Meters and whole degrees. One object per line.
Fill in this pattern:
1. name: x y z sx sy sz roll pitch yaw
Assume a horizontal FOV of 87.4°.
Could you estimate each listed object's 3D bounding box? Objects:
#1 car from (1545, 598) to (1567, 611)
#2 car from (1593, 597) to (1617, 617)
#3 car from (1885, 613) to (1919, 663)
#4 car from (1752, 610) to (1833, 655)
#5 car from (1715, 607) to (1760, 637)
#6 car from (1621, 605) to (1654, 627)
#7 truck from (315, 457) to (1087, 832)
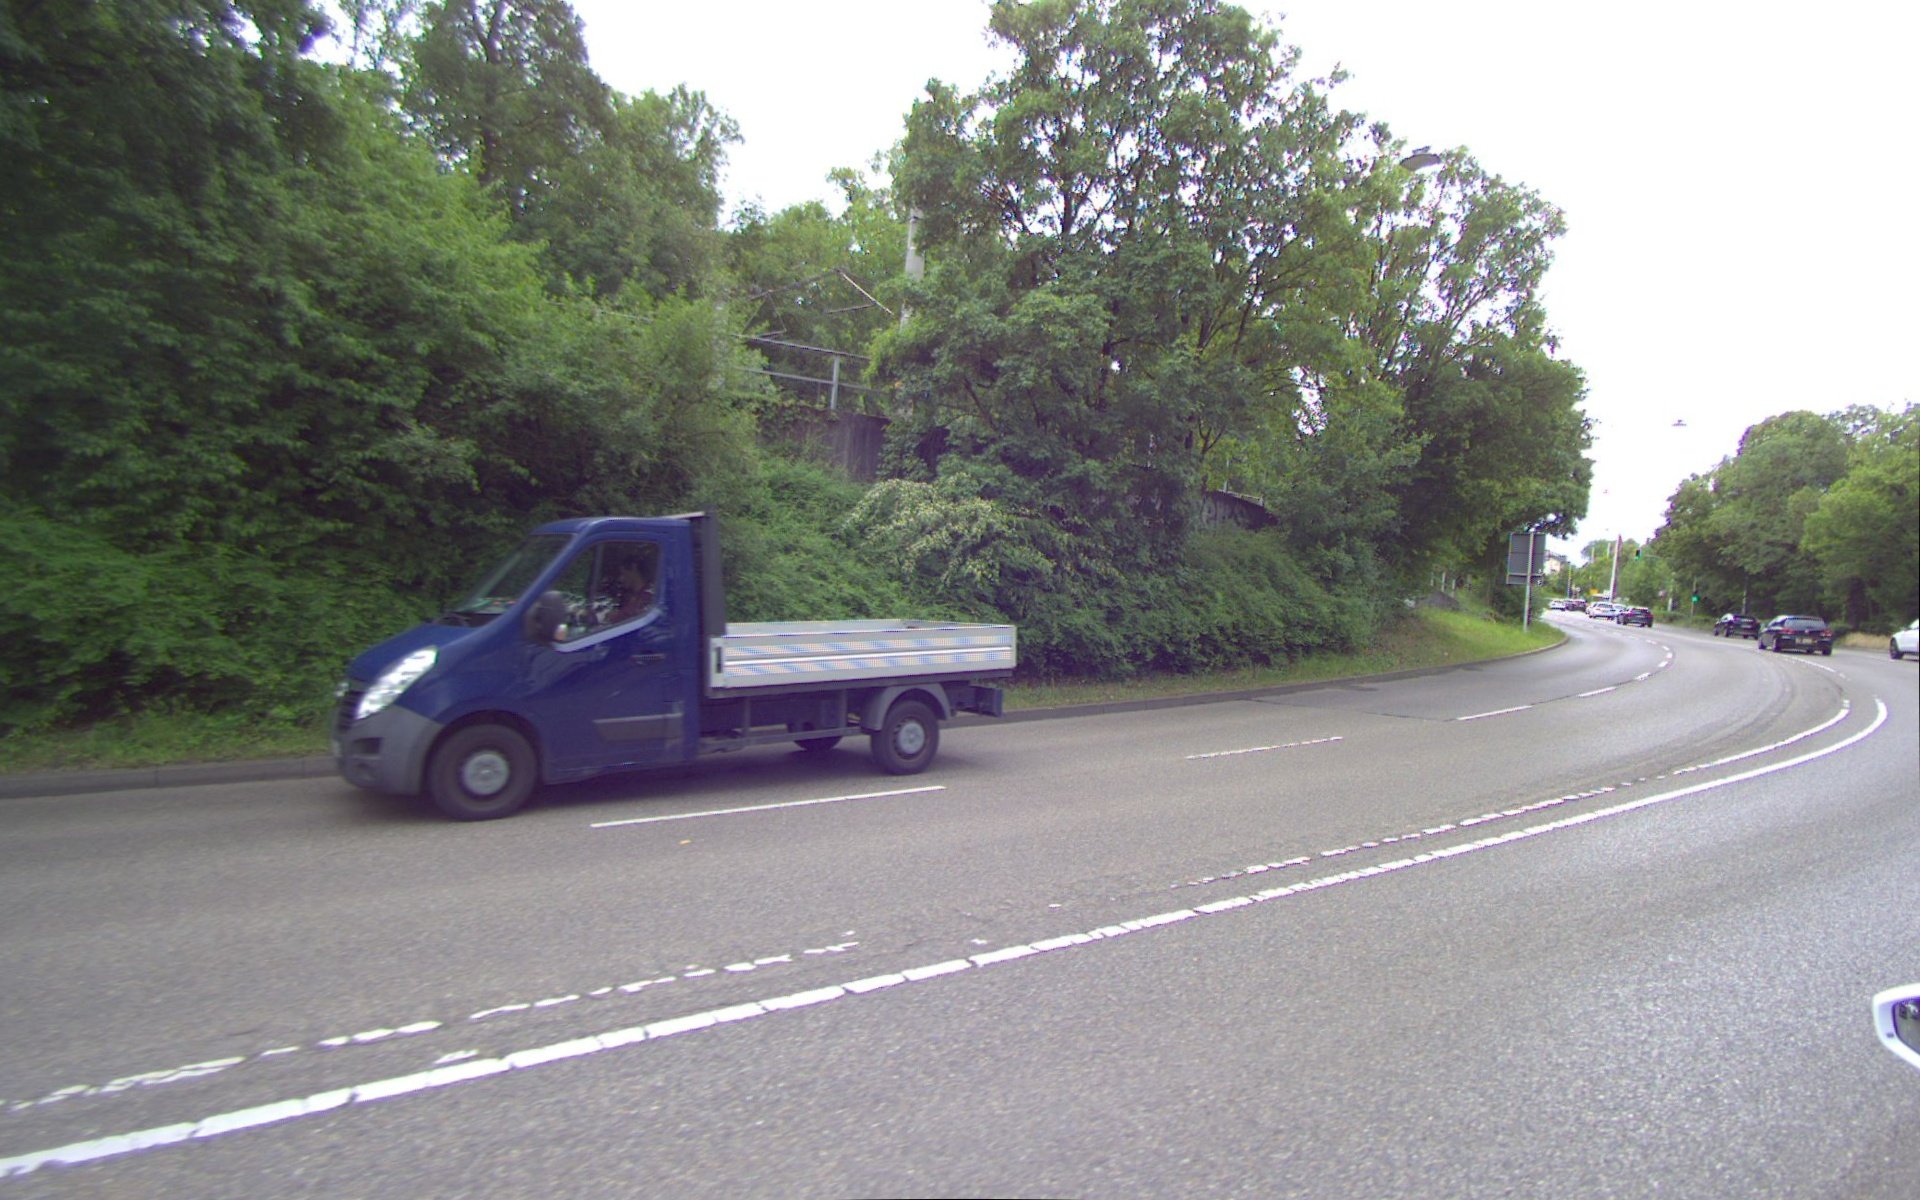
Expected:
1. car: 81.151 0.638 136.643 1.969 1.548 3.983 5 3 38
2. car: 60.065 0.628 93.576 1.686 1.611 3.991 5 3 31
3. car: 34.825 1.347 35.761 1.823 1.725 3.994 0 -1 28
4. car: 32.865 1.247 39.748 1.922 1.486 3.989 5 3 33
5. car: 48.371 1.322 62.560 1.741 1.628 3.990 5 3 32
6. car: 51.914 1.210 77.029 1.966 1.507 3.988 5 3 34
7. truck: -1.959 0.319 9.296 6.617 2.402 2.144 1 0 -37
